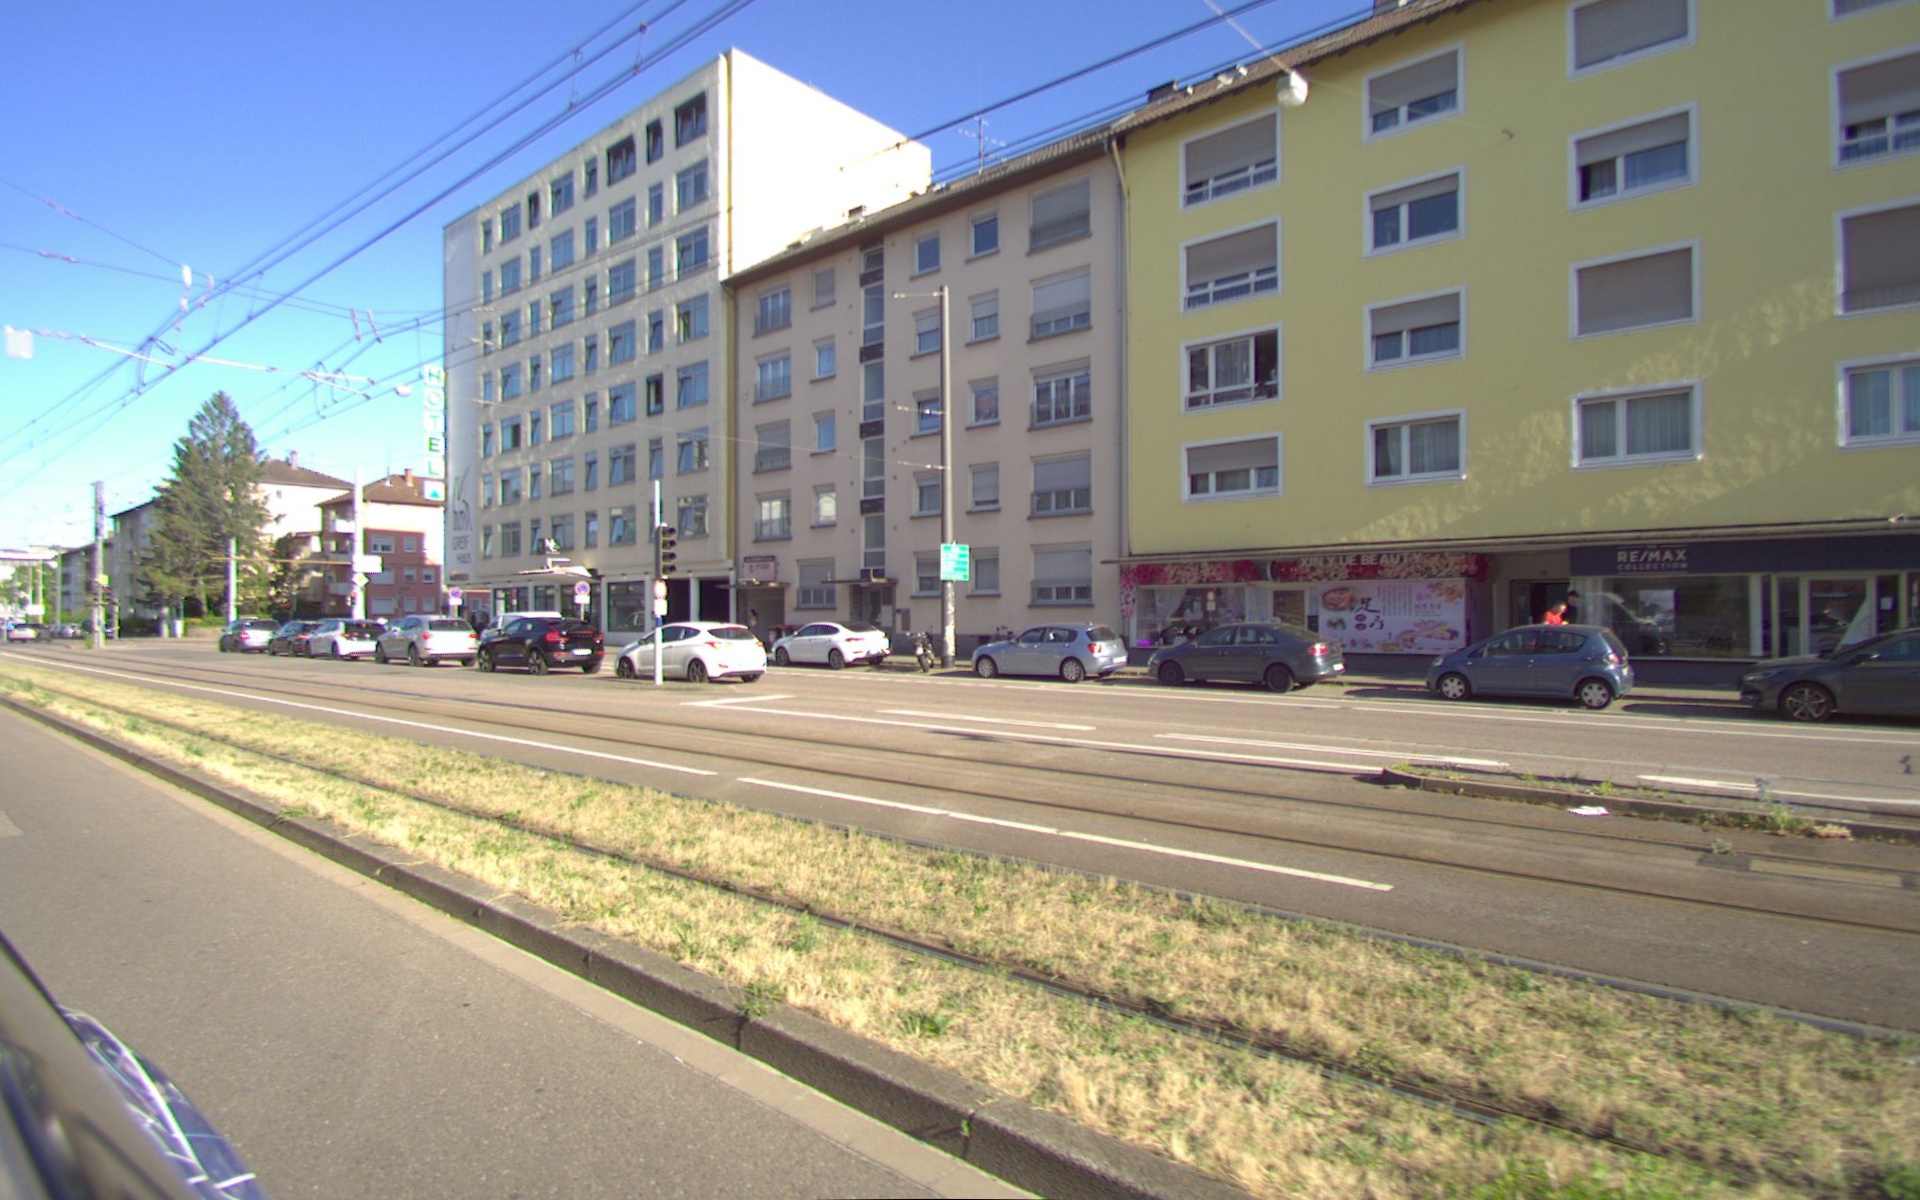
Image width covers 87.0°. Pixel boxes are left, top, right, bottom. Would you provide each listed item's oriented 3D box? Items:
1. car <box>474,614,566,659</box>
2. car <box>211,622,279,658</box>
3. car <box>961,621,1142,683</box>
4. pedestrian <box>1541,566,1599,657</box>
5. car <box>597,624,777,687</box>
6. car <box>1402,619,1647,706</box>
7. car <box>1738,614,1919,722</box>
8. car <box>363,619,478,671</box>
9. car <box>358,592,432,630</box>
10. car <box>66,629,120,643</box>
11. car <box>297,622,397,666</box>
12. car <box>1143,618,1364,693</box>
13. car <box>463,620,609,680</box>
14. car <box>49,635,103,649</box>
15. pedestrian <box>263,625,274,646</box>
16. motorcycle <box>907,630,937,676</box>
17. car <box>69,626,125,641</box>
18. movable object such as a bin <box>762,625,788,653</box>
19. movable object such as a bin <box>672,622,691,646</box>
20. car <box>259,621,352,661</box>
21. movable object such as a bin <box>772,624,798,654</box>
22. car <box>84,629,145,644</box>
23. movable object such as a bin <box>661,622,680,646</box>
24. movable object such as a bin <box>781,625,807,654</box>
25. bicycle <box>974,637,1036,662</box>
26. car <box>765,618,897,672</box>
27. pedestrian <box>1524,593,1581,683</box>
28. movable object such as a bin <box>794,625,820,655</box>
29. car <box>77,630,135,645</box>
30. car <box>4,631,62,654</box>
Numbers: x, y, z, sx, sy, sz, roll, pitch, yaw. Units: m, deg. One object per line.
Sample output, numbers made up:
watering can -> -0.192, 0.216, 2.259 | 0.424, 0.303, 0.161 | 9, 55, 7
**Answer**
car -> -20.468, 1.657, 46.996 | 4.665, 1.912, 1.974 | -1, 1, 39
car -> -32.734, 1.839, 46.304 | 3.998, 1.571, 1.596 | -1, -3, 41
car -> 2.303, 1.284, 26.120 | 4.410, 1.395, 1.765 | -1, 1, 39
pedestrian -> 12.937, 0.242, 21.457 | 0.923, 1.874, 0.664 | -1, 1, 41
car -> -6.613, 1.296, 24.370 | 4.405, 1.395, 1.817 | -1, -2, 35
car -> 10.627, 1.103, 19.164 | 3.766, 1.395, 1.765 | -1, 1, 41
car -> 14.766, 1.000, 15.349 | 4.593, 1.485, 1.765 | -1, 1, 41
car -> -17.586, 1.430, 32.923 | 4.605, 1.593, 1.764 | -2, -2, 41
car -> -24.234, 0.505, 43.357 | 3.568, 1.512, 1.551 | -1, -3, 39
car -> -87.375, 3.590, 102.000 | 1.737, 1.342, 3.946 | -2, -2, 40
car -> -22.846, 1.616, 37.660 | 4.236, 1.562, 1.838 | -1, -3, 39
car -> 6.484, 1.175, 22.676 | 4.413, 1.431, 1.765 | -1, 1, 41
car -> -11.931, 1.366, 28.376 | 4.406, 1.540, 1.767 | -1, -2, 36
car -> -91.111, 4.314, 104.327 | 1.737, 1.342, 3.946 | -2, -2, 40
pedestrian -> -55.305, 2.839, 80.939 | 0.510, 1.618, 0.607 | -1, 1, 39
motorcycle -> -1.089, 1.494, 29.162 | 0.481, 1.147, 2.107 | -2, 1, 7
car -> -84.157, 3.248, 98.716 | 1.737, 1.342, 3.946 | -2, -2, 40
movable object such as a bin -> -7.143, 1.500, 39.085 | 0.546, 1.059, 0.764 | -1, 1, 41
movable object such as a bin -> -12.872, 1.565, 46.769 | 0.775, 1.059, 0.538 | -2, -2, 43
car -> -27.094, 1.684, 41.846 | 4.362, 1.562, 1.974 | -1, -3, 39
movable object such as a bin -> -6.687, 1.485, 38.664 | 0.546, 1.059, 0.764 | -1, 1, 41
car -> -76.187, 3.265, 91.216 | 1.737, 1.342, 3.946 | -2, -2, 40
movable object such as a bin -> -13.250, 1.554, 46.358 | 0.775, 1.059, 0.538 | -2, -2, 43
movable object such as a bin -> -6.266, 1.489, 38.289 | 0.546, 1.059, 0.764 | -1, 1, 41
bicycle -> 1.390, 1.551, 31.724 | 1.995, 0.698, 0.595 | -1, 1, 41
car -> -4.108, 1.376, 31.897 | 4.197, 1.497, 1.740 | -1, 1, 41
pedestrian -> 12.071, 0.763, 20.617 | 0.844, 1.756, 0.664 | -1, 1, 41
movable object such as a bin -> -5.722, 1.474, 37.801 | 0.546, 1.059, 0.764 | -1, 1, 41
car -> -80.412, 3.476, 95.370 | 1.737, 1.342, 3.946 | -2, -2, 40
car -> -67.158, 3.073, 73.401 | 1.693, 1.397, 3.725 | -2, 1, -18
